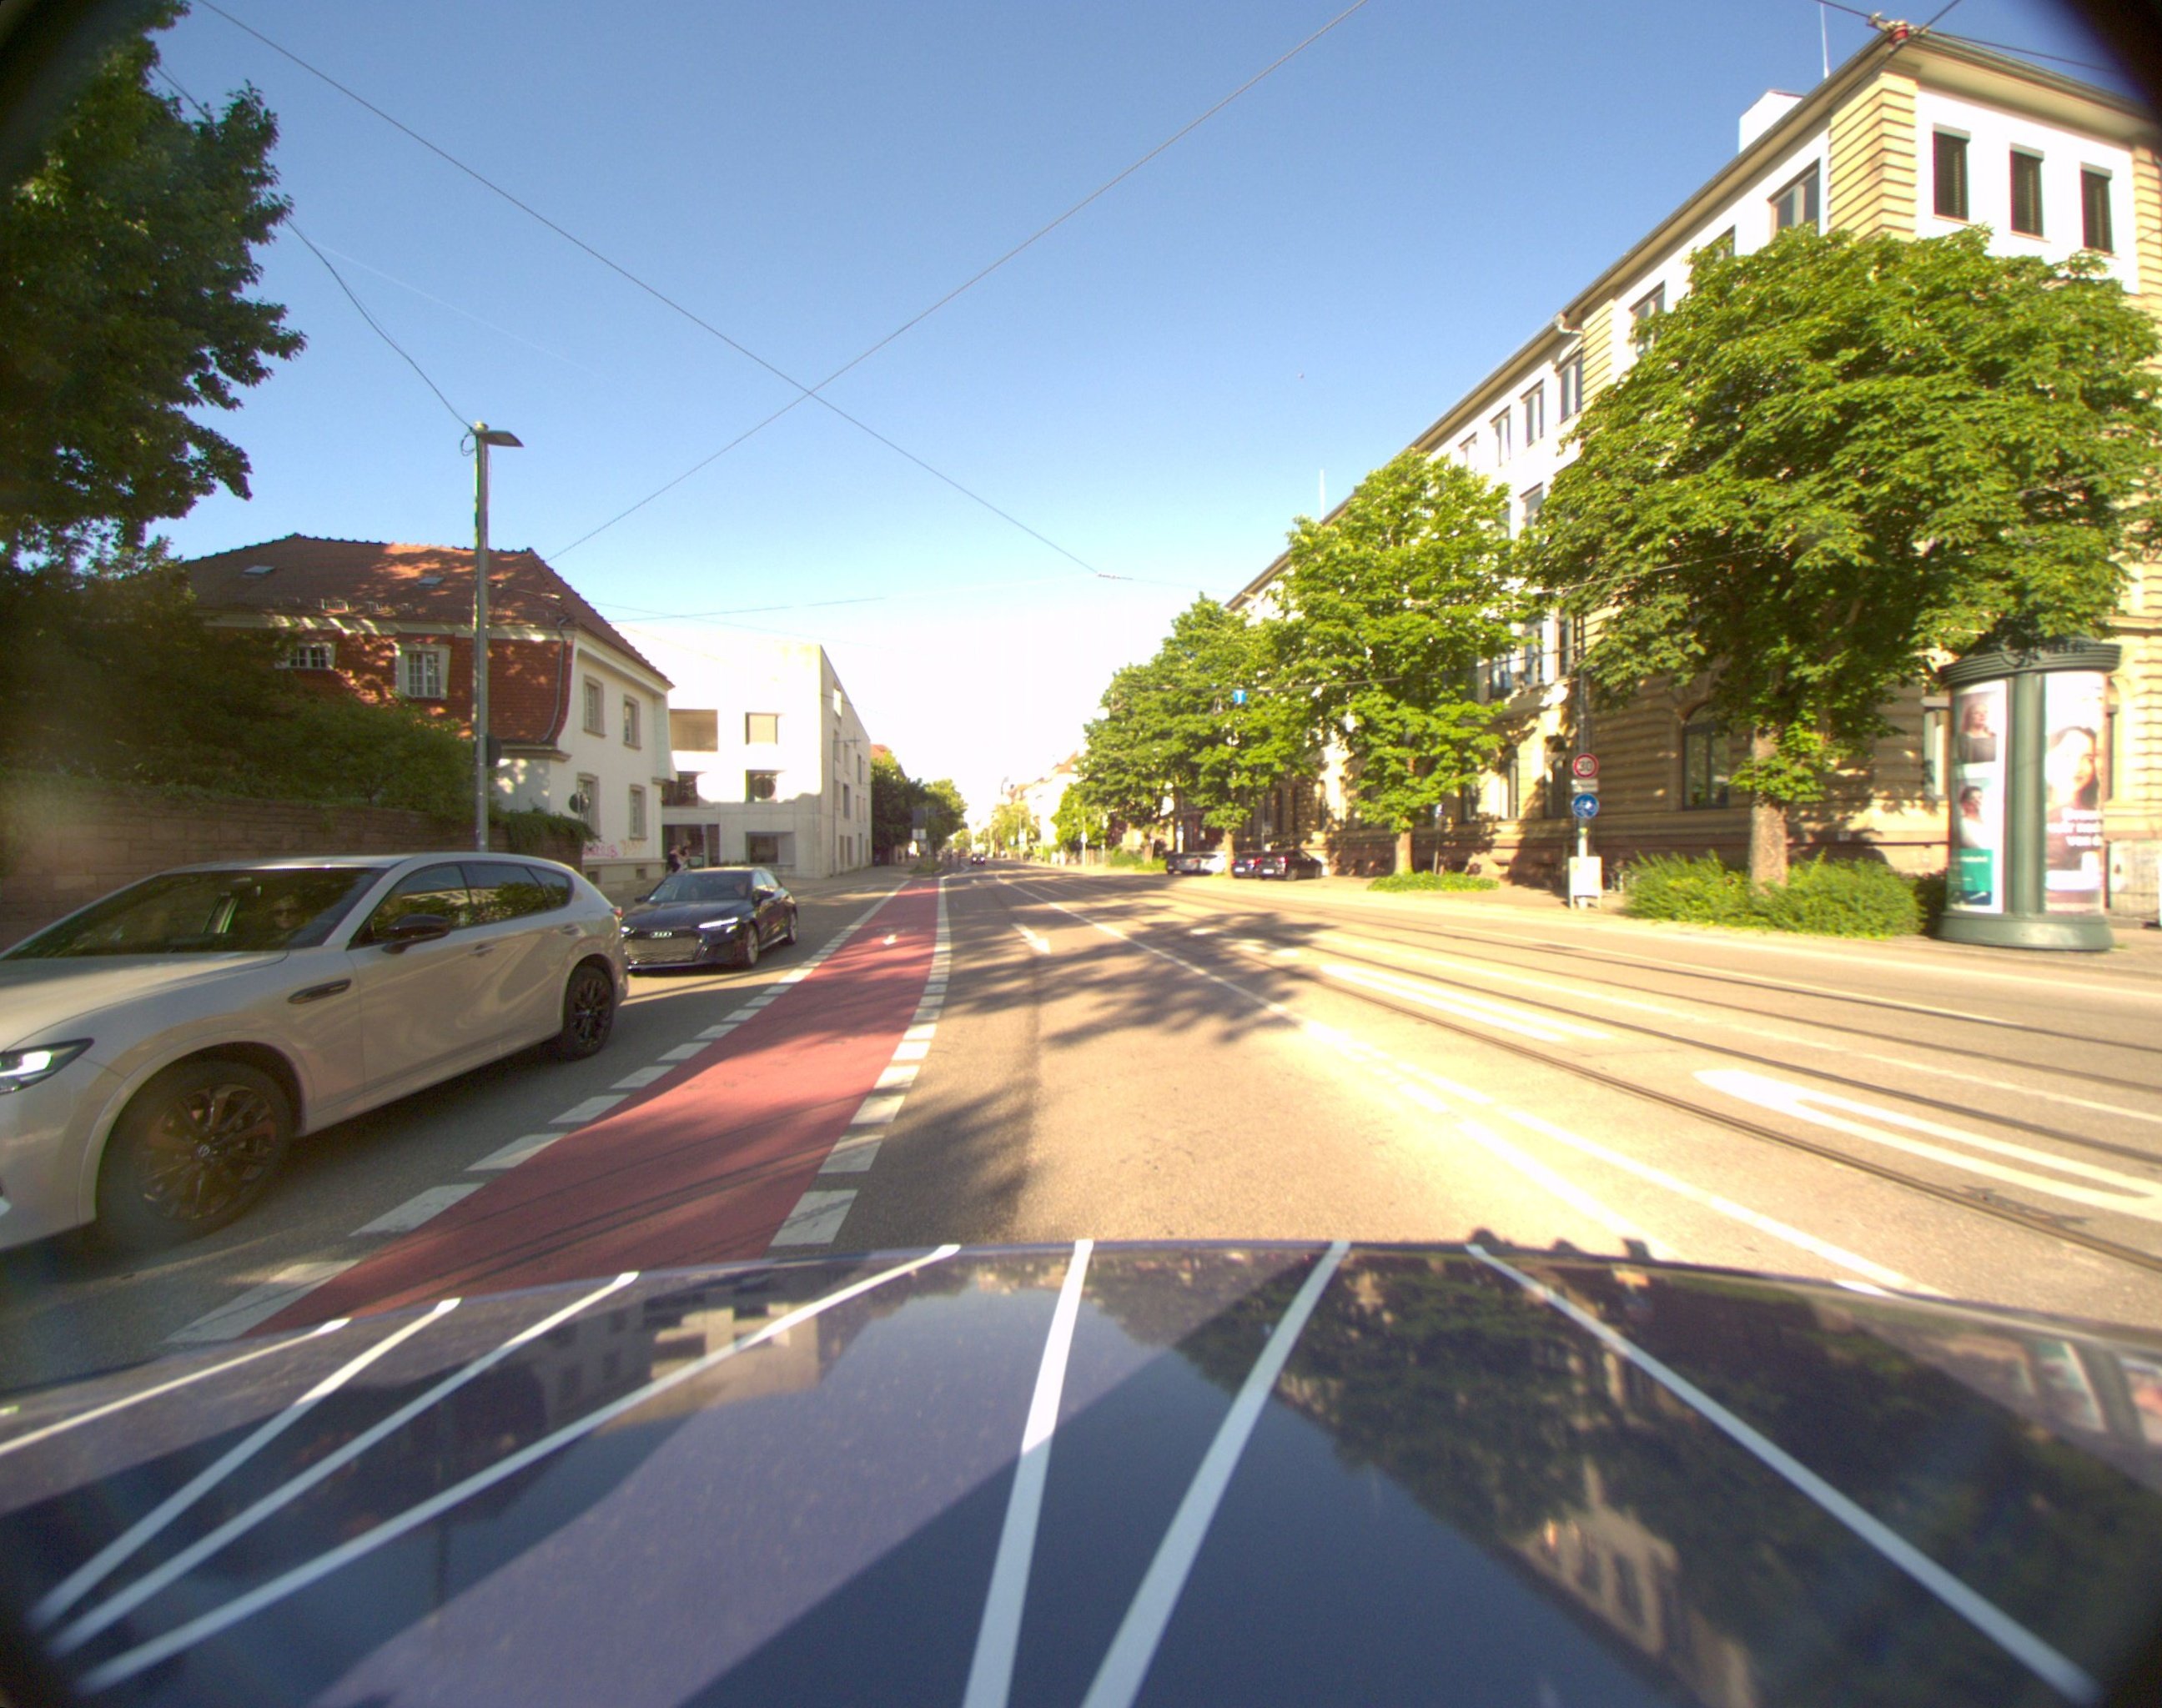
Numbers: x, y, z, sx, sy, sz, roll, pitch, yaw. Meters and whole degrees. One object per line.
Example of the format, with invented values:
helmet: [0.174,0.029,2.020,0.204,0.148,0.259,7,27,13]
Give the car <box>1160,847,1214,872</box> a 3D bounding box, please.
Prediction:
car: [7.236,0.354,51.773,3.657,1.552,1.645,-3,1,-43]

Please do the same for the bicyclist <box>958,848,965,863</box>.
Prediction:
bicyclist: [-12.789,0.139,81.491,0.676,1.638,1.028,0,1,-8]

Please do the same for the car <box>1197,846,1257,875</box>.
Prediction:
car: [8.891,0.382,46.131,3.657,1.552,1.645,-3,1,-43]

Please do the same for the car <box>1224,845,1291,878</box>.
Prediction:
car: [9.419,0.384,40.415,3.657,1.552,1.645,-3,1,-43]

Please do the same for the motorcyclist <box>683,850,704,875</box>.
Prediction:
motorcyclist: [-19.042,0.413,37.345,0.855,1.243,0.675,-1,1,-29]

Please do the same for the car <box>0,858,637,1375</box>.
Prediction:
car: [-4.806,0.935,4.475,1.946,1.682,4.529,-2,1,-5]

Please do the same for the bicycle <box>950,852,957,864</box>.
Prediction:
bicycle: [-13.624,0.437,81.374,0.676,1.243,2.454,0,1,-8]

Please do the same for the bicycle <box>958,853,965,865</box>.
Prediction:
bicycle: [-12.768,0.555,81.366,0.676,1.243,2.454,0,1,-8]

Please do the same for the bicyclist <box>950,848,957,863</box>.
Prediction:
bicyclist: [-13.634,0.132,81.426,0.676,1.638,1.028,0,1,-8]

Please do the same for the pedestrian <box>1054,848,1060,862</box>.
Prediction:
pedestrian: [-2.807,0.104,88.530,0.676,1.638,0.817,-1,1,-9]

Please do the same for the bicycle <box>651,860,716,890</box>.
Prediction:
bicycle: [-17.539,0.913,33.603,2.459,1.243,0.675,0,1,-18]

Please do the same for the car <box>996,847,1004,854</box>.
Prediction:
car: [-20.103,-0.887,188.396,1.650,1.552,3.646,-2,1,-12]

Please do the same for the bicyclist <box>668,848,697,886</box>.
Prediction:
bicyclist: [-17.593,0.575,33.581,1.030,1.638,0.674,0,1,-18]

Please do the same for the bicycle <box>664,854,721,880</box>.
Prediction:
bicycle: [-19.091,0.632,37.322,2.460,1.243,0.674,-1,1,-29]

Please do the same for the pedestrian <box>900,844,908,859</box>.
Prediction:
pedestrian: [-18.875,-0.272,81.045,0.676,1.638,0.817,-1,1,-9]

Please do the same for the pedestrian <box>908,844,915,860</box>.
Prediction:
pedestrian: [-18.055,-0.219,81.019,0.676,1.638,0.817,-1,1,-9]

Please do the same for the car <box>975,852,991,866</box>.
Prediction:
car: [-11.827,0.601,91.563,1.649,1.552,3.648,-2,1,-5]

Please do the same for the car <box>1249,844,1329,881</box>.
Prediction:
car: [10.383,0.401,37.755,4.189,1.621,1.841,-3,1,-43]

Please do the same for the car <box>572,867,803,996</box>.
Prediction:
car: [-5.620,0.995,11.483,1.789,1.425,3.997,-2,1,-8]

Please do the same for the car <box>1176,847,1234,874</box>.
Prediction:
car: [7.912,0.382,48.362,3.657,1.552,1.645,-3,1,-43]
